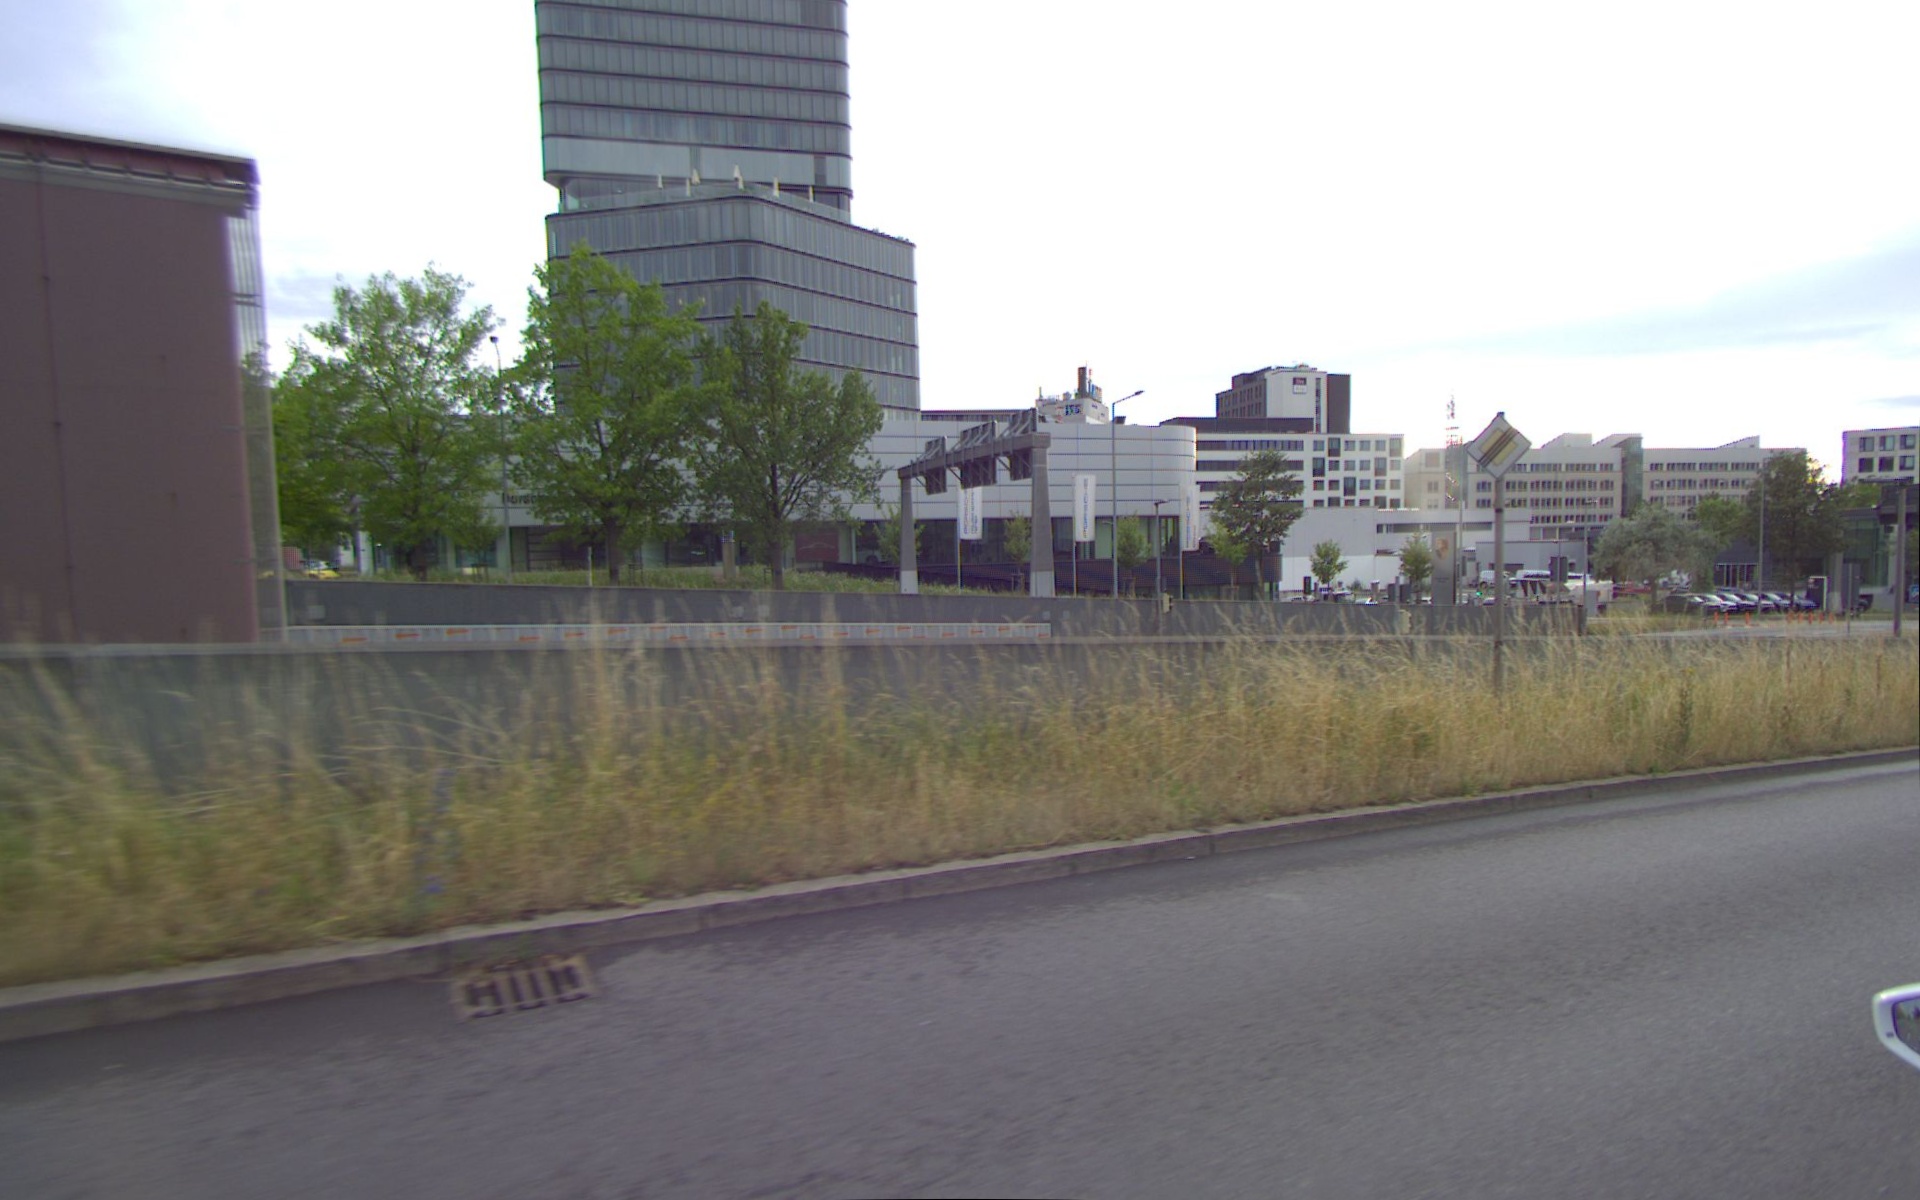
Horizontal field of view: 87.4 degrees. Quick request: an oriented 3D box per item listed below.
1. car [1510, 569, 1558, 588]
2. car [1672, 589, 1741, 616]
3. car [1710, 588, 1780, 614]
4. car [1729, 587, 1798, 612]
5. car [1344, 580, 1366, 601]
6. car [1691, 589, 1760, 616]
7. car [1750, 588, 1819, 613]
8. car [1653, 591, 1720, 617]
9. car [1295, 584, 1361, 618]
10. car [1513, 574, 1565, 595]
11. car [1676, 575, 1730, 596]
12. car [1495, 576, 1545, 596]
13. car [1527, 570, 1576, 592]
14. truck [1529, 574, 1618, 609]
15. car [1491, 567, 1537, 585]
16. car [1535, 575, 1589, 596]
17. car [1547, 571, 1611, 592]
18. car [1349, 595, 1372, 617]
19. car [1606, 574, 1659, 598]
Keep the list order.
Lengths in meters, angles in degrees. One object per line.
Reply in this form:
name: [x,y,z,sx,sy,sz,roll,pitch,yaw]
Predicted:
car: [58.357,-2.170,102.136,3.932,1.707,1.917,-2,6,-15]
car: [59.271,0.187,79.843,1.893,1.707,3.982,-3,6,-18]
car: [63.557,0.050,81.394,1.893,1.707,3.982,-3,6,-18]
car: [65.770,-0.064,82.285,1.893,1.707,3.982,-3,6,-18]
car: [40.245,-0.973,102.358,1.961,1.729,3.997,1,6,21]
car: [61.321,0.168,80.569,1.893,1.707,3.982,-3,6,-18]
car: [68.002,-0.002,82.905,1.893,1.707,3.982,-3,6,-18]
car: [57.143,0.294,79.079,1.672,1.622,3.995,-3,6,-18]
car: [32.921,0.006,90.012,2.502,2.524,5.112,-4,6,-29]
car: [54.229,-1.476,94.131,3.932,1.707,1.917,-2,6,-15]
car: [71.224,-1.418,96.326,3.940,1.807,1.913,4,7,41]
car: [53.654,-1.374,96.236,3.932,1.707,1.917,-2,6,-15]
car: [58.625,-1.869,99.555,3.932,1.908,1.994,-2,6,-14]
truck: [53.415,-0.792,87.509,7.292,2.563,2.364,-3,6,-18]
car: [58.003,-2.519,105.226,3.932,1.707,1.917,-2,6,-15]
car: [54.700,-1.343,91.281,3.932,1.707,1.917,-2,6,-15]
car: [60.040,-1.772,97.454,5.442,1.907,1.994,0,5,-14]
car: [38.030,0.555,95.430,1.961,1.707,3.997,1,6,21]
car: [61.685,-1.325,92.162,3.932,1.908,1.902,-2,6,-14]
